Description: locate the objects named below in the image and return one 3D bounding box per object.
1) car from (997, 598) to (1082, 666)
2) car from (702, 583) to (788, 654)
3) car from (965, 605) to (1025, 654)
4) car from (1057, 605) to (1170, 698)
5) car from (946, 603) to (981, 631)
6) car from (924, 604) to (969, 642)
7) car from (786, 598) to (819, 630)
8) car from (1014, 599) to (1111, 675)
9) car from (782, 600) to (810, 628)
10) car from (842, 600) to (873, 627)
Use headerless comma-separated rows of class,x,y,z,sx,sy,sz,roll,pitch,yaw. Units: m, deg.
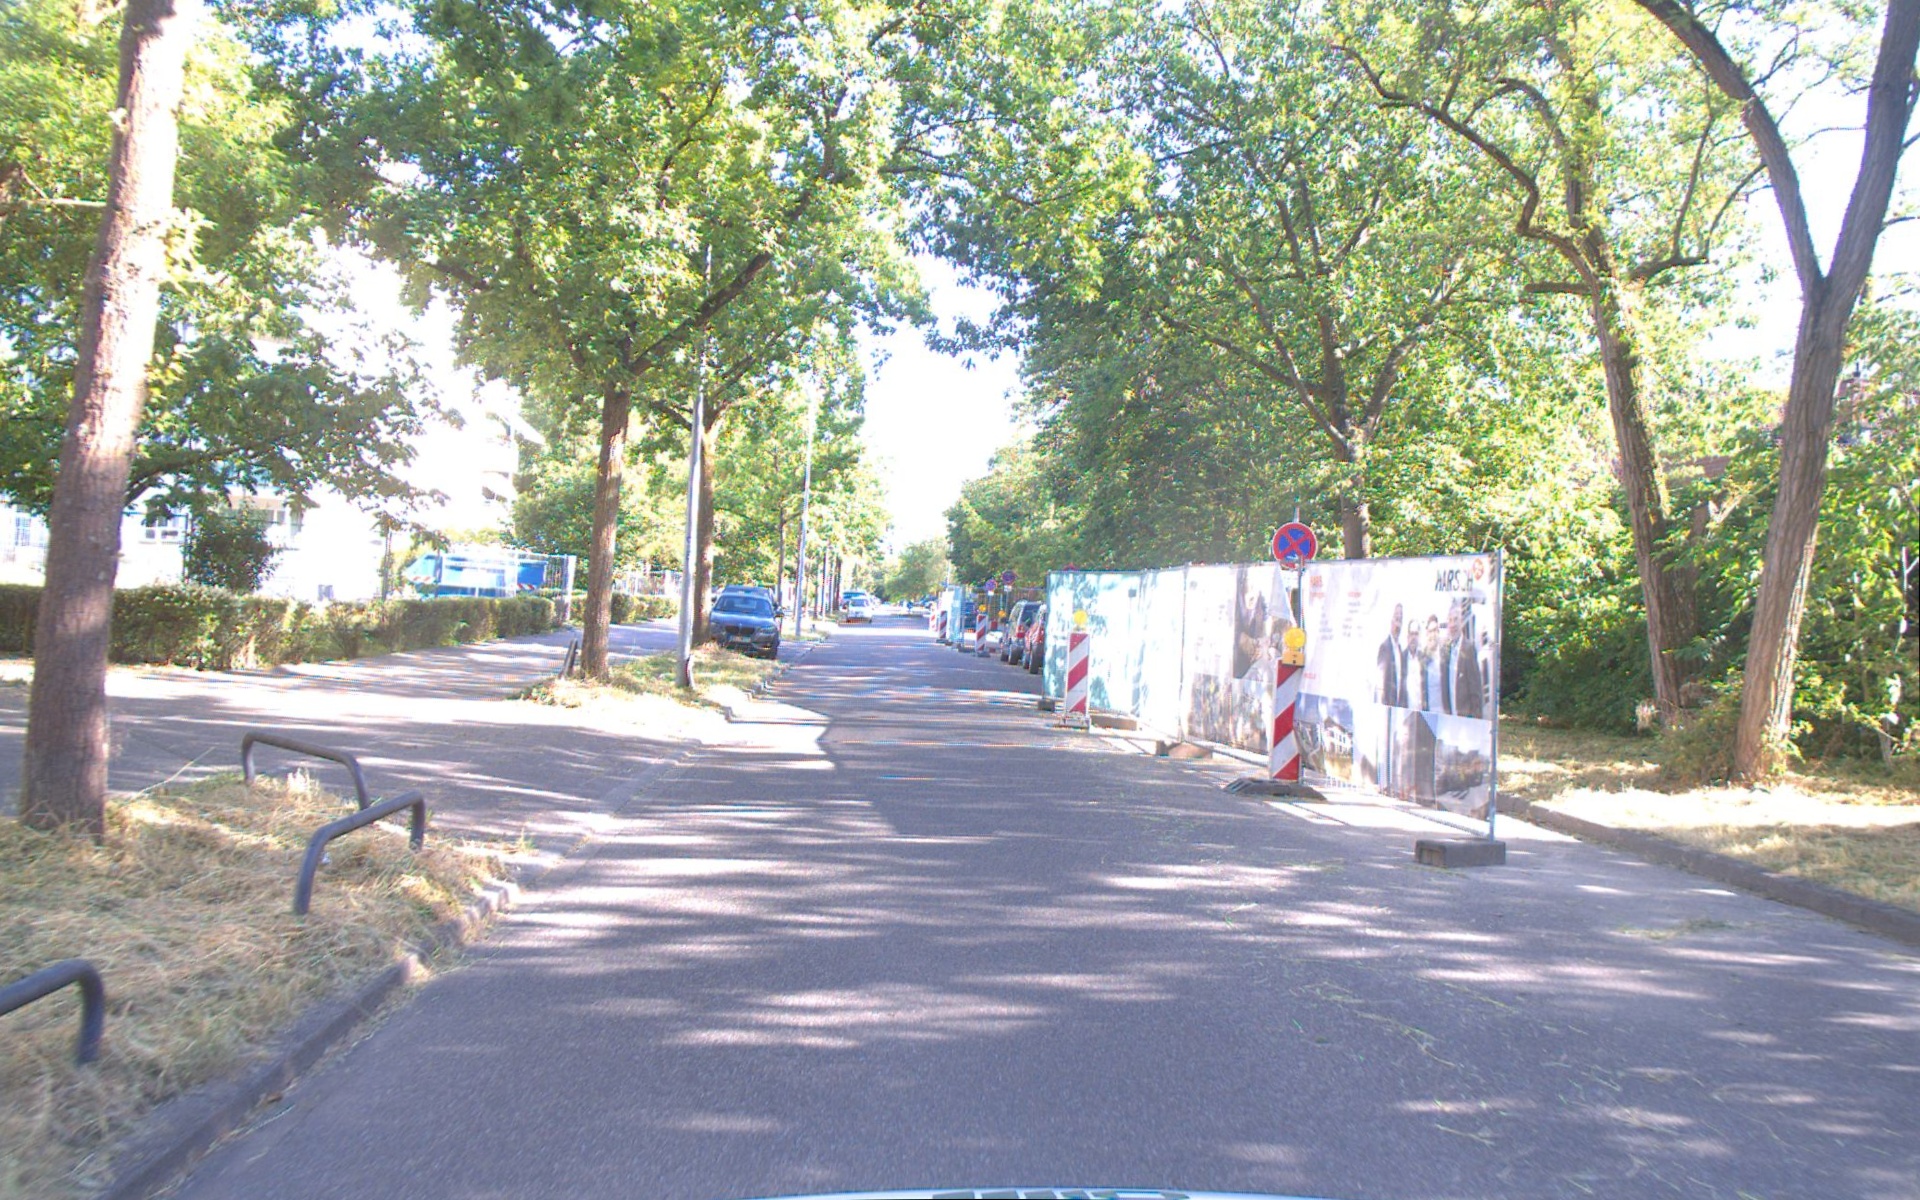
car,2.051,0.817,43.531,1.719,1.623,3.654,3,0,-4
car,-5.036,0.417,39.148,1.716,1.503,3.833,3,0,-4
car,1.009,0.875,49.381,1.335,1.325,3.477,4,-1,-5
car,2.722,0.880,29.820,1.471,1.503,3.055,3,0,-4
car,0.172,0.914,92.161,1.758,1.434,3.999,3,0,-1
car,-0.546,0.862,62.268,1.335,1.325,3.477,4,-1,-5
car,-7.080,0.627,74.432,1.335,1.325,3.477,4,-1,-5
car,2.349,0.827,38.865,1.719,1.623,3.654,3,0,-4
car,-8.519,0.742,86.086,1.335,1.325,3.477,4,-1,-5
car,-6.657,0.863,106.953,1.678,1.612,3.994,4,-1,-7
